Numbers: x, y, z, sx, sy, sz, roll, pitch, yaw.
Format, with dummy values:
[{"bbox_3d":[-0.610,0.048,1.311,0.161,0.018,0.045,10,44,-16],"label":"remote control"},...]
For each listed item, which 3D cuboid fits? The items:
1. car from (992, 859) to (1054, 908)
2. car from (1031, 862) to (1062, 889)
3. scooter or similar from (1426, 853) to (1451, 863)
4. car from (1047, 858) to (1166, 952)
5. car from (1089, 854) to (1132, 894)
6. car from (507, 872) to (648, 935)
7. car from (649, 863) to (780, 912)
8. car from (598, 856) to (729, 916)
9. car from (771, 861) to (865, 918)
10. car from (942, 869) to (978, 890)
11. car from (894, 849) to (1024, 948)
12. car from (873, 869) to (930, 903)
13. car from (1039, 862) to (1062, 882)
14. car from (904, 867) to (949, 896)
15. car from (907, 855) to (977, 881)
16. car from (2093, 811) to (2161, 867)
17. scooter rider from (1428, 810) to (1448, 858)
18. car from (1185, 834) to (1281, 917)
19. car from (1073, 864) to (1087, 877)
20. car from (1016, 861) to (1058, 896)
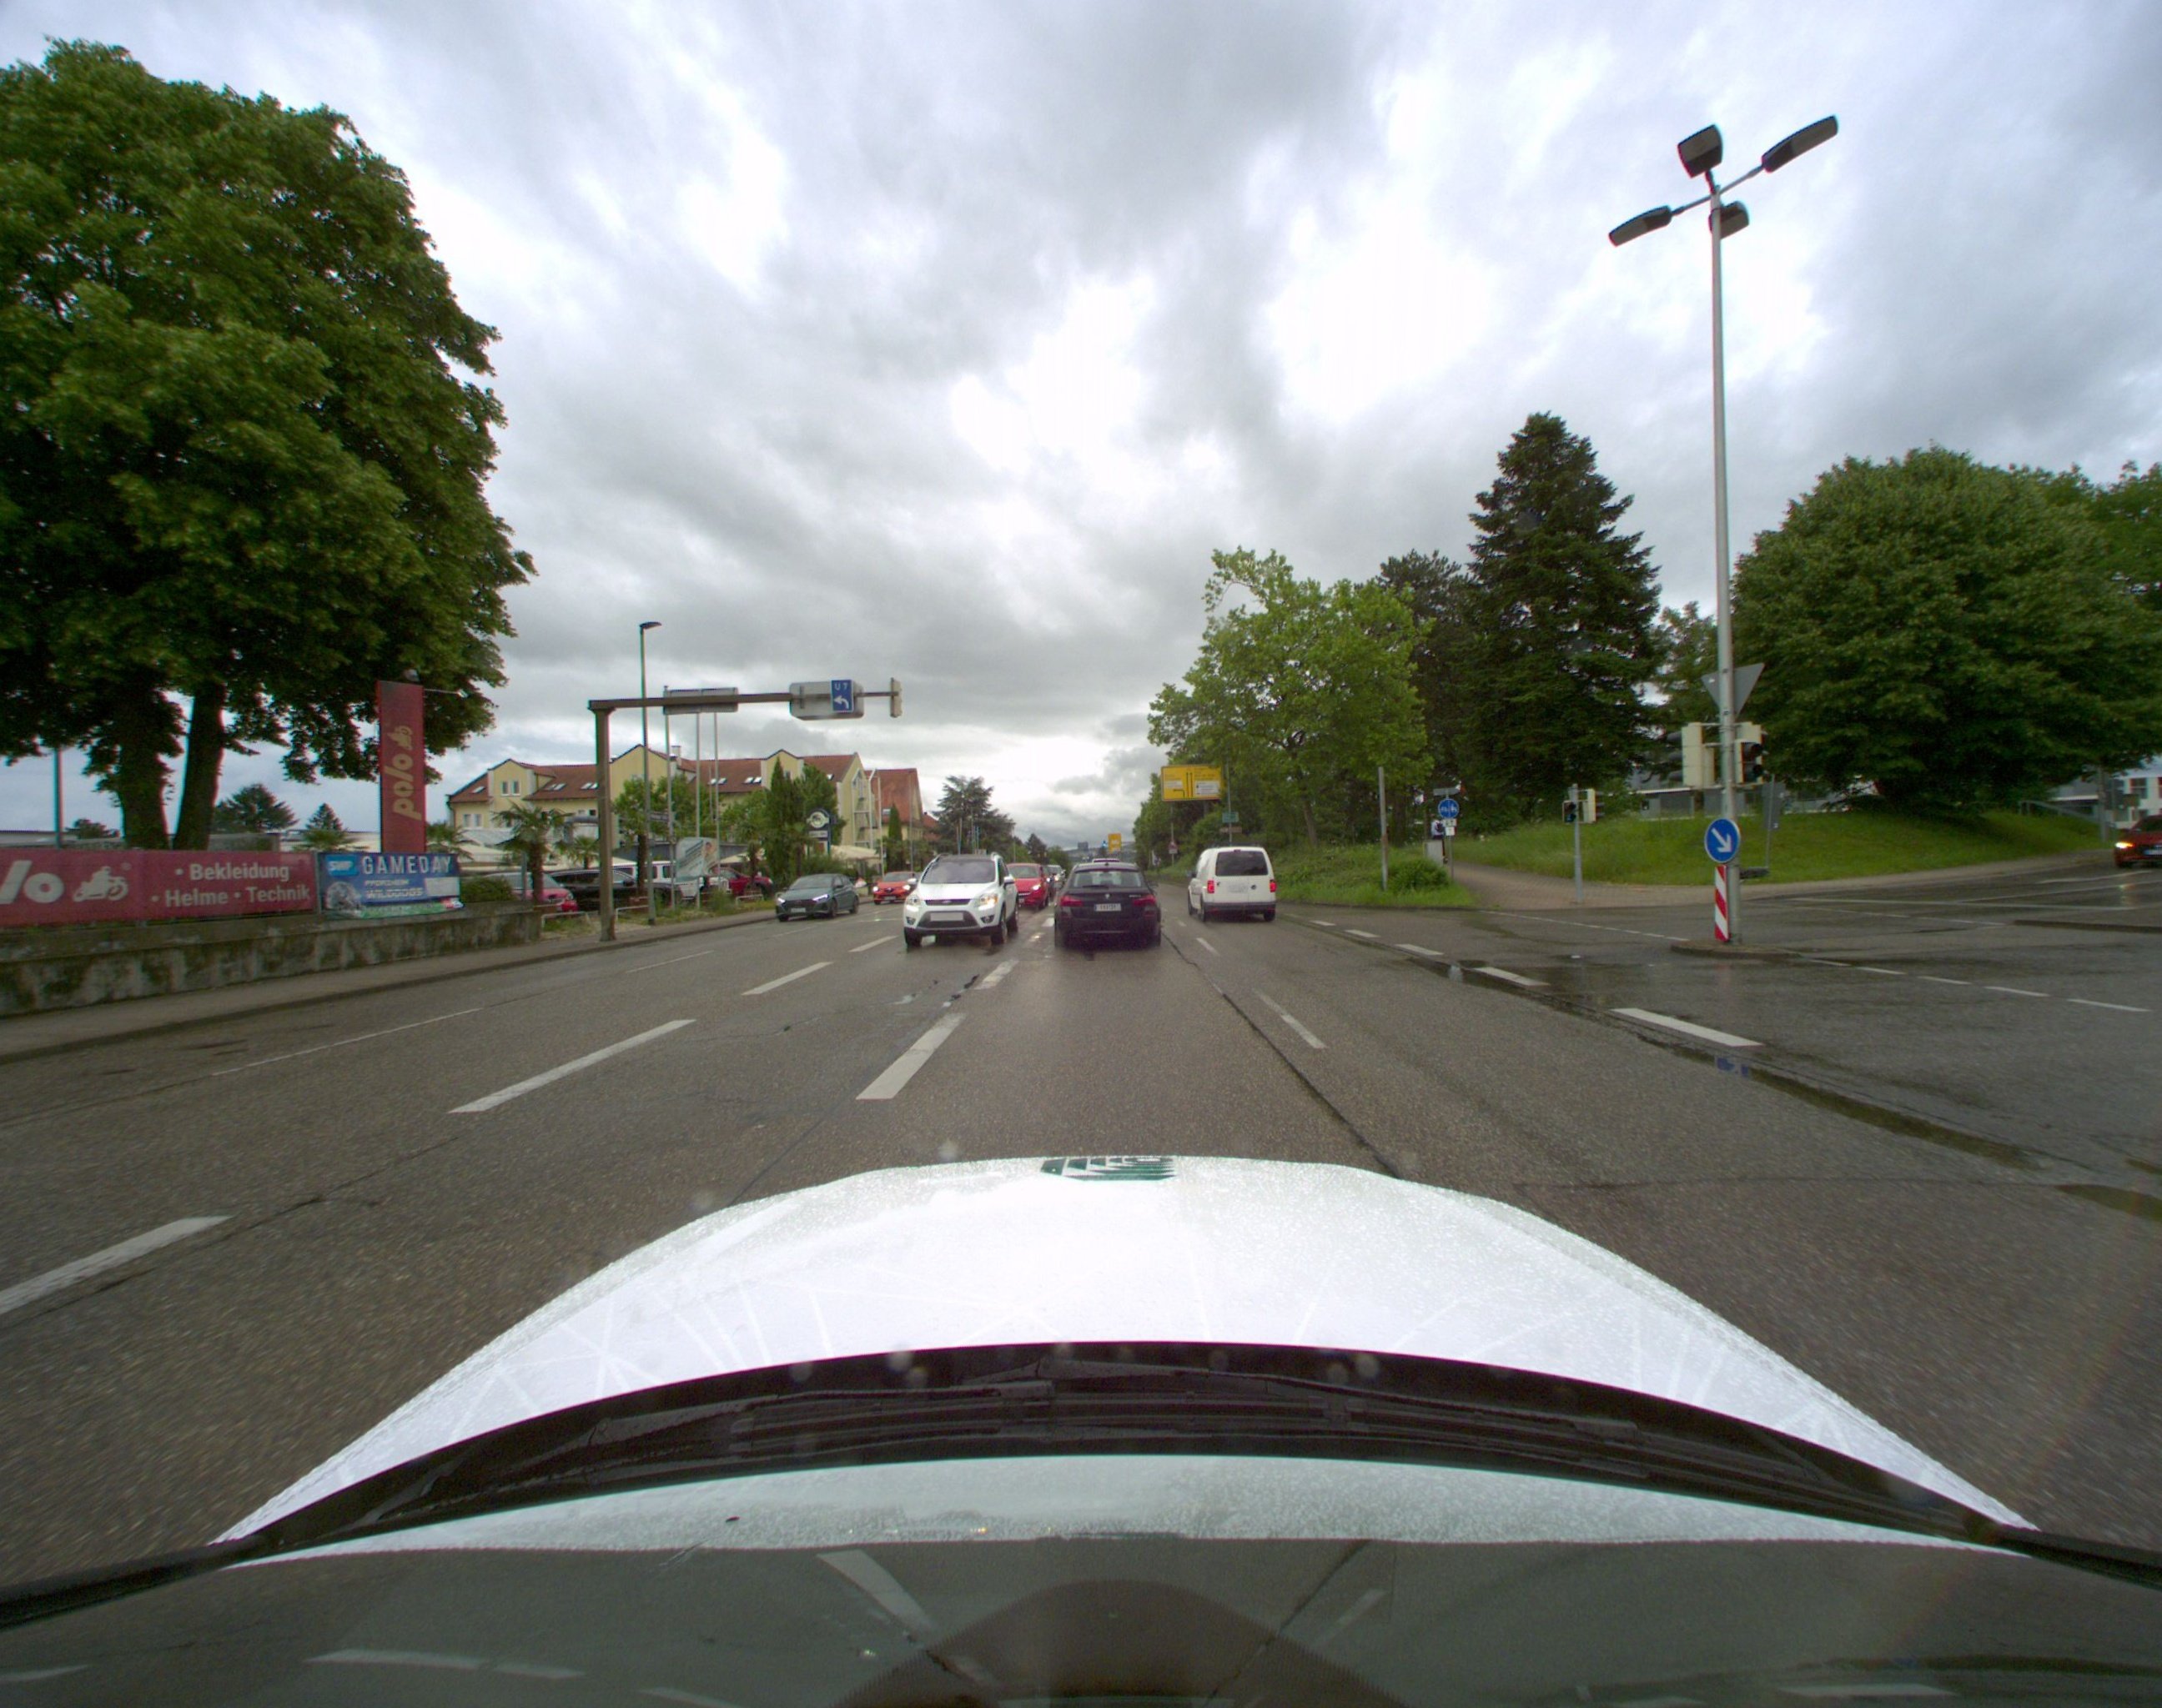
[{"bbox_3d":[-1.874,0.965,27.360,1.626,1.434,4.144,-3,-1,1],"label":"car"},{"bbox_3d":[-1.984,1.248,47.558,1.596,1.441,3.948,-1,-1,1],"label":"car"},{"bbox_3d":[14.803,0.154,33.752,0.485,0.403,1.256,-2,0,1],"label":"scooter or similar"},{"bbox_3d":[0.483,0.832,15.098,1.891,1.441,4.002,-1,0,2],"label":"car"},{"bbox_3d":[1.340,0.863,37.081,1.861,1.673,4.002,-1,0,2],"label":"car"},{"bbox_3d":[-13.431,1.334,21.694,3.572,1.504,1.676,-4,-2,30],"label":"car"},{"bbox_3d":[-16.056,1.471,35.820,5.024,1.702,1.982,-3,-3,-27],"label":"car"},{"bbox_3d":[-16.525,1.233,32.445,4.410,2.013,1.982,-4,0,-27],"label":"car"},{"bbox_3d":[-8.615,1.119,27.030,1.670,1.618,4.001,-3,0,1],"label":"car"},{"bbox_3d":[-7.658,1.594,51.948,1.617,1.149,3.856,-3,0,1],"label":"car"},{"bbox_3d":[-2.271,0.772,16.257,1.833,1.649,4.297,-2,0,1],"label":"car"},{"bbox_3d":[-8.192,1.430,37.473,1.617,1.332,3.947,-3,0,1],"label":"car"},{"bbox_3d":[-2.542,1.512,68.937,1.782,1.581,4.237,-2,-1,-1],"label":"car"},{"bbox_3d":[-8.473,1.479,44.882,1.597,1.400,4.404,-2,0,0],"label":"car"},{"bbox_3d":[-8.722,0.887,51.086,3.997,1.477,1.651,-3,-1,21],"label":"car"},{"bbox_3d":[30.550,-0.504,22.558,3.999,1.428,1.841,-3,-1,-19],"label":"car"},{"bbox_3d":[14.765,-0.822,33.679,0.499,1.965,0.548,-2,0,1],"label":"scooter rider"},{"bbox_3d":[3.732,0.478,20.642,1.758,1.877,3.806,-1,0,1],"label":"car"},{"bbox_3d":[-0.138,2.373,115.715,1.861,1.673,4.002,-1,0,2],"label":"car"},{"bbox_3d":[-1.945,1.086,37.119,1.596,1.441,3.949,-1,0,1],"label":"car"}]
